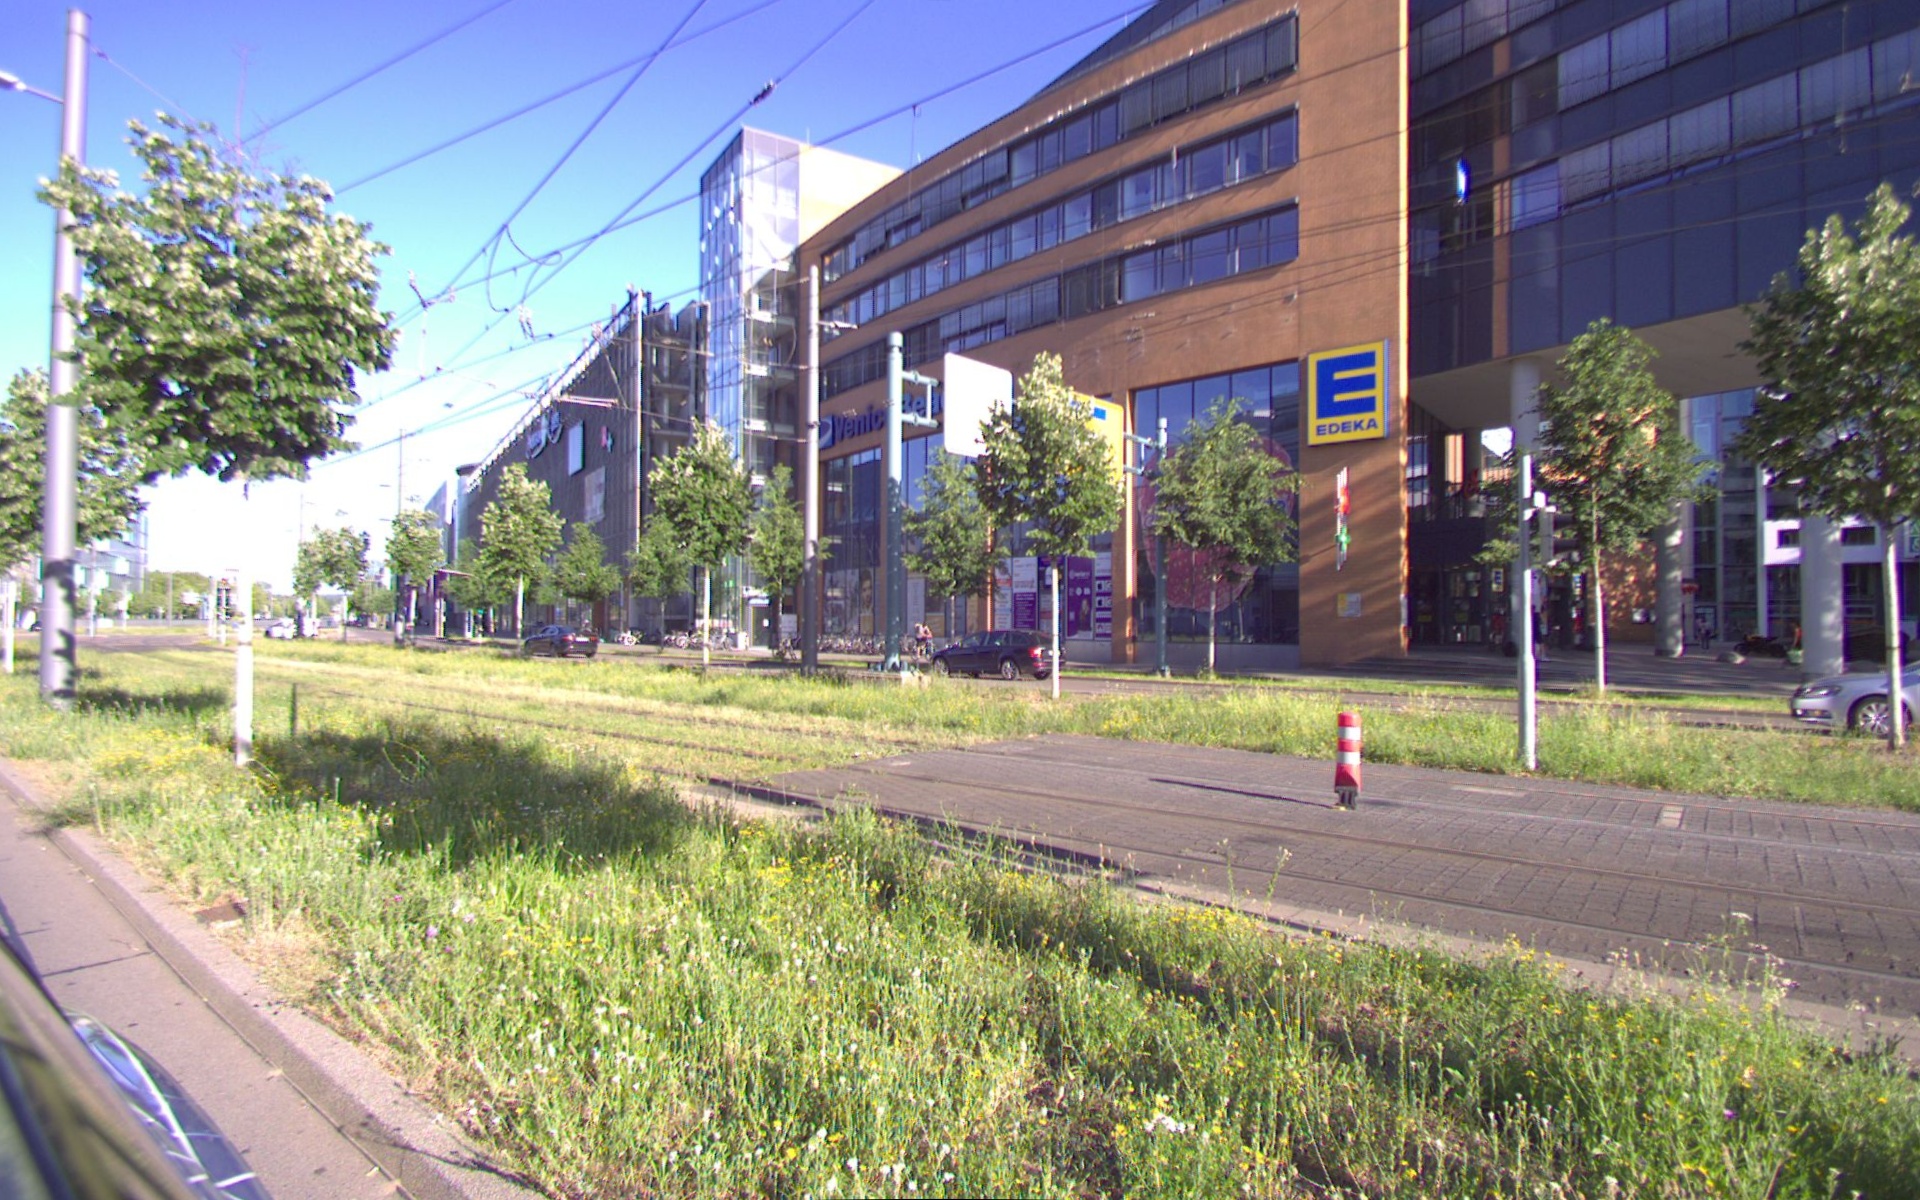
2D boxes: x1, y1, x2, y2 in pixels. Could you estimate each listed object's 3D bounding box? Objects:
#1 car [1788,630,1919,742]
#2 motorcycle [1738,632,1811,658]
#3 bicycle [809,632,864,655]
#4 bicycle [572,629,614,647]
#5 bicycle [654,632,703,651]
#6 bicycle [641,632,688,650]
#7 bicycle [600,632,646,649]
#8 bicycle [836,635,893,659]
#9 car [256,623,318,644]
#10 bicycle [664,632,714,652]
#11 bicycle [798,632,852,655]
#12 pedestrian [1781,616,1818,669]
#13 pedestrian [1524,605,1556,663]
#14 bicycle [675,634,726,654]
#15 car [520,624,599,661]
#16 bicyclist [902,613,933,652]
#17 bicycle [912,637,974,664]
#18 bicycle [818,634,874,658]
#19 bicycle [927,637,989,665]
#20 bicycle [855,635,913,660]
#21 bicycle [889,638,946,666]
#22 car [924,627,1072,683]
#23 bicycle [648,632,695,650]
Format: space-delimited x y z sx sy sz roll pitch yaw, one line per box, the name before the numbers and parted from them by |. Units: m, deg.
car | 14.642 1.193 13.980 4.792 1.539 1.608 -1 -2 35
motorcycle | 35.699 1.949 44.379 0.819 1.066 2.347 1 -2 -40
bicycle | -6.151 2.183 50.606 2.648 1.112 0.897 1 -3 -39
bicycle | -25.568 2.637 70.510 2.648 1.198 0.897 1 -3 -39
bicycle | -16.829 2.470 60.567 2.648 1.112 0.897 1 -3 -39
bicycle | -18.083 2.492 62.005 2.648 1.112 0.897 1 -3 -39
bicycle | -21.977 2.632 66.034 2.648 1.112 0.897 1 -3 -39
bicycle | -4.516 2.214 48.100 2.648 1.112 0.897 1 -3 -39
car | -50.586 2.492 76.077 4.323 1.539 1.667 0 -2 21
bicycle | -15.824 2.457 59.124 2.648 1.112 0.897 1 -3 -39
bicycle | -6.879 2.209 51.542 2.648 1.112 0.897 1 -3 -39
pedestrian | 26.432 1.338 31.852 0.688 1.635 0.735 1 -2 -37
pedestrian | 17.405 1.015 30.380 0.698 1.718 0.724 -1 -2 40
bicycle | -14.745 2.469 57.497 2.648 1.112 0.897 1 -3 -39
car | -17.579 1.826 44.320 4.357 1.539 1.603 -2 -3 45
bicyclist | -1.768 1.337 41.795 0.882 1.560 0.940 2 -3 -41
bicycle | -0.720 2.161 43.428 2.648 1.112 0.897 1 -3 -39
bicycle | -5.548 2.228 49.417 2.648 1.112 0.897 1 -3 -39
bicycle | -0.066 2.126 42.609 2.648 1.112 0.897 1 -3 -39
bicycle | -3.546 2.202 47.174 2.648 1.112 0.897 1 -3 -39
bicycle | -1.766 2.133 41.765 0.882 1.112 2.696 1 -3 -40
car | 1.063 1.588 29.920 4.354 1.539 1.605 -1 -3 42
bicycle | -17.468 2.479 61.321 2.648 1.112 0.827 1 -3 -39
